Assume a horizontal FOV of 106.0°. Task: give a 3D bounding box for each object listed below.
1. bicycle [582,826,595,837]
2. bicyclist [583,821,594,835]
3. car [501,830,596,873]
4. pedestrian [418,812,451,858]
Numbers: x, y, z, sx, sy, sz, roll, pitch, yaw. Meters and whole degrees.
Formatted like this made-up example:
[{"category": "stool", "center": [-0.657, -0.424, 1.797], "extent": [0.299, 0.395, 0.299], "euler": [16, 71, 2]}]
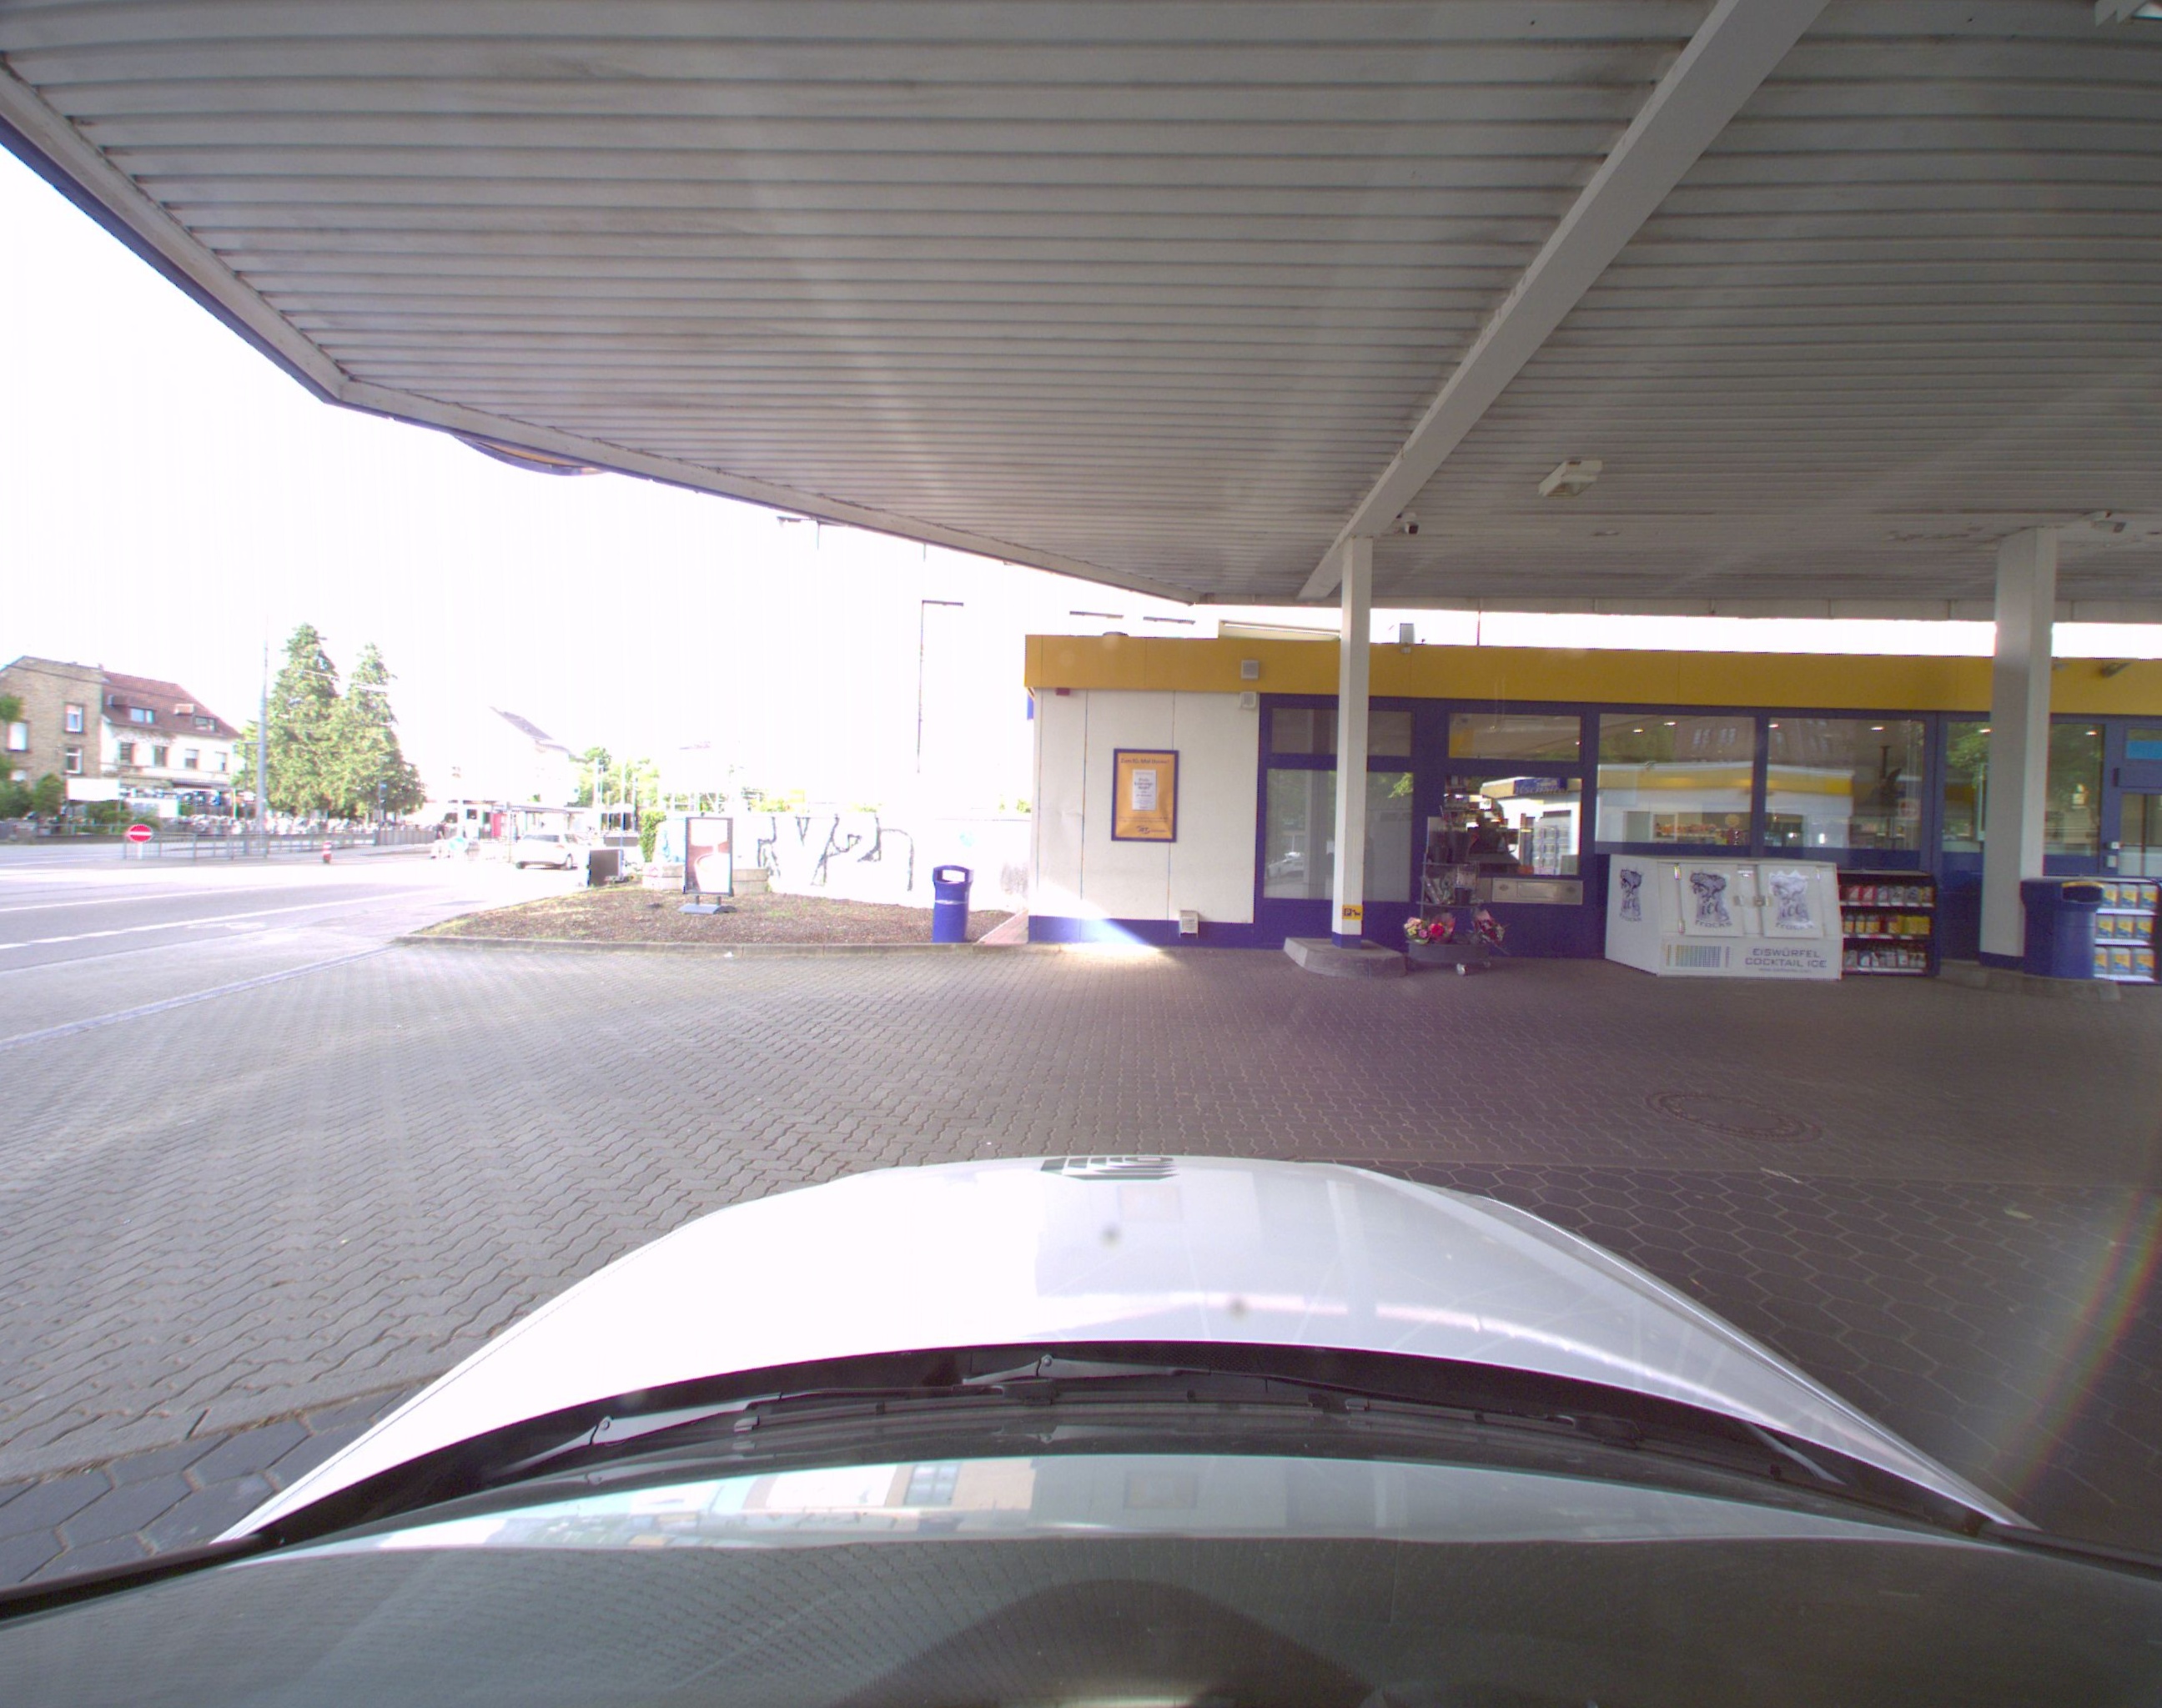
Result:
[{"category": "bicycle", "center": [-53.619, -2.472, 88.653], "extent": [0.679, 1.222, 1.909], "euler": [0, 1, -15]}, {"category": "bicyclist", "center": [-53.608, -2.786, 88.654], "extent": [0.679, 1.534, 1.080], "euler": [0, 1, -15]}, {"category": "car", "center": [-20.335, -0.137, 31.273], "extent": [1.756, 1.476, 3.981], "euler": [3, 1, -14]}, {"category": "pedestrian", "center": [-29.002, -0.835, 36.539], "extent": [0.799, 2.014, 0.855], "euler": [-1, -1, 20]}]
